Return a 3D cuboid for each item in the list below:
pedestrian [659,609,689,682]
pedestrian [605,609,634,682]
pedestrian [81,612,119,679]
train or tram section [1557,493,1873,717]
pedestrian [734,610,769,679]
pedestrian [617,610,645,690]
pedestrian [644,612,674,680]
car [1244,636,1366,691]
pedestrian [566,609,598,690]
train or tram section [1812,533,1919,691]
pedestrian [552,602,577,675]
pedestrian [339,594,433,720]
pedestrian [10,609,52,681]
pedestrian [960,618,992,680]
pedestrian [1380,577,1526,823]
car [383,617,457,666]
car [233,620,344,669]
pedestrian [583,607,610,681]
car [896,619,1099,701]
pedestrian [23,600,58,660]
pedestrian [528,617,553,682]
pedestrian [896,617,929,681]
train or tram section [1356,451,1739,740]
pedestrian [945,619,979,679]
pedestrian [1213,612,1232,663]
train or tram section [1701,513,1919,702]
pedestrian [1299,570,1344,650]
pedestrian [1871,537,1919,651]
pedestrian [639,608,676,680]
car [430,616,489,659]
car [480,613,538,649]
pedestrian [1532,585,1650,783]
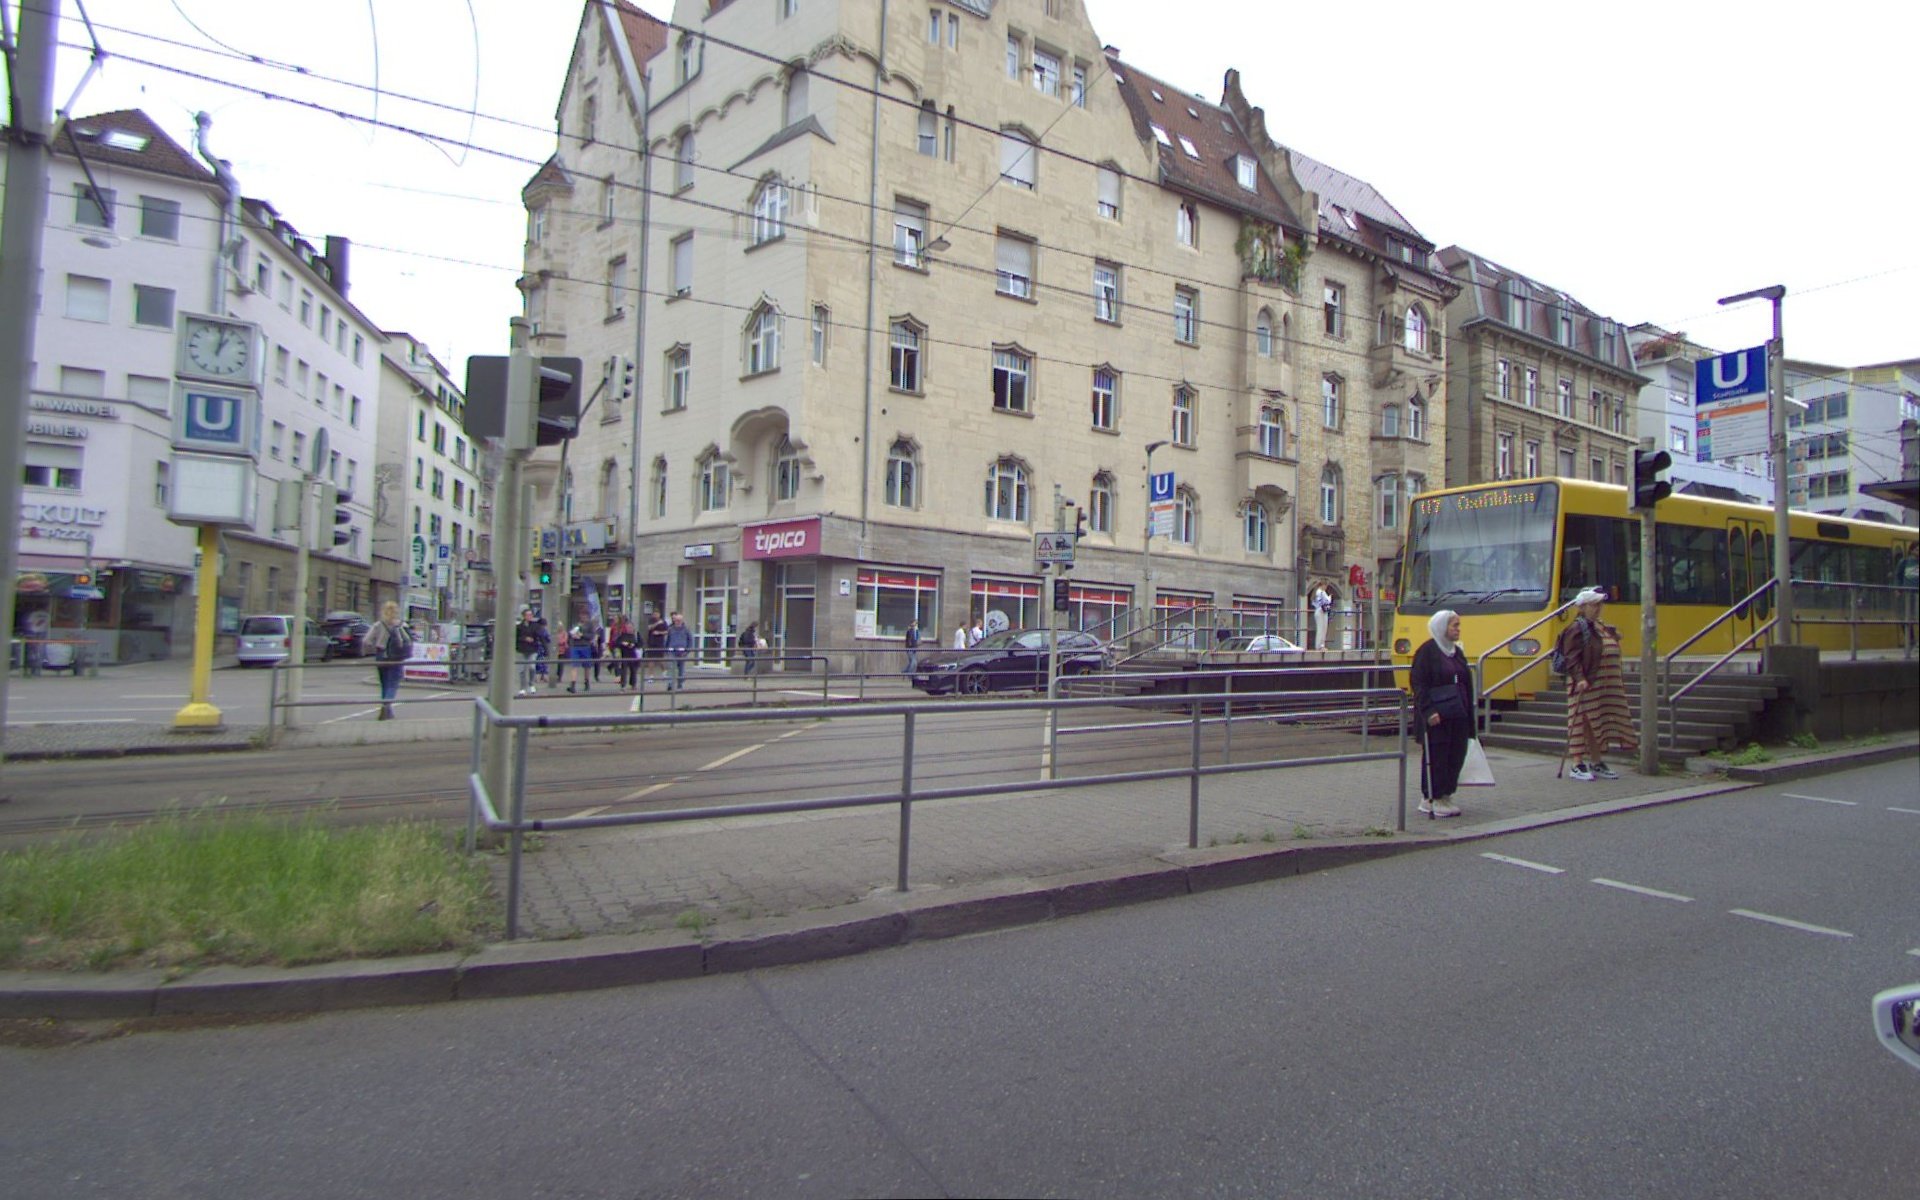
[{"bbox_3d":[-7.238,1.147,25.433,0.565,1.803,0.511,1,-2,-1],"label":"pedestrian"},{"bbox_3d":[-8.542,1.129,25.186,0.570,1.803,0.507,2,-2,-29],"label":"pedestrian"},{"bbox_3d":[-23.626,1.238,27.593,0.502,1.803,0.576,1,-2,-5],"label":"pedestrian"},{"bbox_3d":[14.080,0.145,18.673,5.686,3.567,2.820,1,-1,-31],"label":"train or tram section"},{"bbox_3d":[-5.589,1.189,26.881,0.808,1.803,0.574,1,-2,-22],"label":"pedestrian"},{"bbox_3d":[-7.569,1.145,23.134,0.567,1.803,0.510,1,-2,-17],"label":"pedestrian"},{"bbox_3d":[-7.748,1.181,25.874,0.679,1.699,0.674,1,-2,-14],"label":"pedestrian"},{"bbox_3d":[10.462,1.919,30.449,3.558,1.544,1.552,2,-1,-30],"label":"car"},{"bbox_3d":[-8.557,1.118,22.759,0.586,1.803,0.709,1,-2,-15],"label":"pedestrian"},{"bbox_3d":[23.803,0.324,24.636,5.686,3.567,2.820,1,-1,-31],"label":"train or tram section"},{"bbox_3d":[-9.976,0.978,25.362,0.505,1.803,0.573,2,-2,-26],"label":"pedestrian"},{"bbox_3d":[-8.108,0.797,14.235,0.796,1.728,0.877,1,-2,-2],"label":"pedestrian"},{"bbox_3d":[-23.582,1.139,25.495,0.568,1.803,0.509,1,-2,-19],"label":"pedestrian"},{"bbox_3d":[0.460,1.390,28.348,0.700,1.728,0.601,2,-2,-26],"label":"pedestrian"},{"bbox_3d":[3.723,0.717,7.596,0.862,1.734,0.632,1,-1,-32],"label":"pedestrian"},{"bbox_3d":[-19.641,1.557,36.685,1.610,1.705,3.771,1,-4,-17],"label":"car"},{"bbox_3d":[-23.972,1.545,36.075,1.724,1.581,4.504,2,-1,-12],"label":"car"},{"bbox_3d":[-9.071,1.095,25.070,0.569,1.803,0.508,2,-2,-25],"label":"pedestrian"},{"bbox_3d":[0.825,1.277,21.614,3.953,1.595,1.899,2,-1,-30],"label":"car"},{"bbox_3d":[-28.400,0.931,31.044,0.589,1.803,0.509,1,-2,-19],"label":"pedestrian"},{"bbox_3d":[-10.503,1.239,25.149,0.505,1.603,0.573,2,-2,-28],"label":"pedestrian"},{"bbox_3d":[-1.321,1.361,27.941,0.644,1.728,0.780,2,-2,-26],"label":"pedestrian"},{"bbox_3d":[9.230,0.004,15.677,5.686,3.727,2.820,1,-1,-31],"label":"train or tram section"},{"bbox_3d":[0.051,1.416,29.220,0.714,1.728,0.780,2,-2,-26],"label":"pedestrian"},{"bbox_3d":[9.278,1.320,35.546,0.616,1.785,0.847,0,-2,16],"label":"pedestrian"},{"bbox_3d":[18.924,0.209,21.658,5.686,3.567,2.820,1,-1,-31],"label":"train or tram section"},{"bbox_3d":[7.977,0.234,22.174,0.654,1.734,0.684,1,-1,-32],"label":"pedestrian"},{"bbox_3d":[14.951,-0.078,15.822,0.663,1.753,0.714,2,-1,-30],"label":"pedestrian"},{"bbox_3d":[-7.715,1.122,25.633,0.654,1.803,0.790,1,-2,-1],"label":"pedestrian"},{"bbox_3d":[-21.668,1.675,43.584,1.610,1.768,3.771,1,-4,-17],"label":"car"},{"bbox_3d":[-23.664,1.683,52.863,2.021,1.768,4.656,1,-4,-15],"label":"car"},{"bbox_3d":[5.830,0.745,9.288,0.704,1.734,0.682,1,-1,-32],"label":"pedestrian"}]
